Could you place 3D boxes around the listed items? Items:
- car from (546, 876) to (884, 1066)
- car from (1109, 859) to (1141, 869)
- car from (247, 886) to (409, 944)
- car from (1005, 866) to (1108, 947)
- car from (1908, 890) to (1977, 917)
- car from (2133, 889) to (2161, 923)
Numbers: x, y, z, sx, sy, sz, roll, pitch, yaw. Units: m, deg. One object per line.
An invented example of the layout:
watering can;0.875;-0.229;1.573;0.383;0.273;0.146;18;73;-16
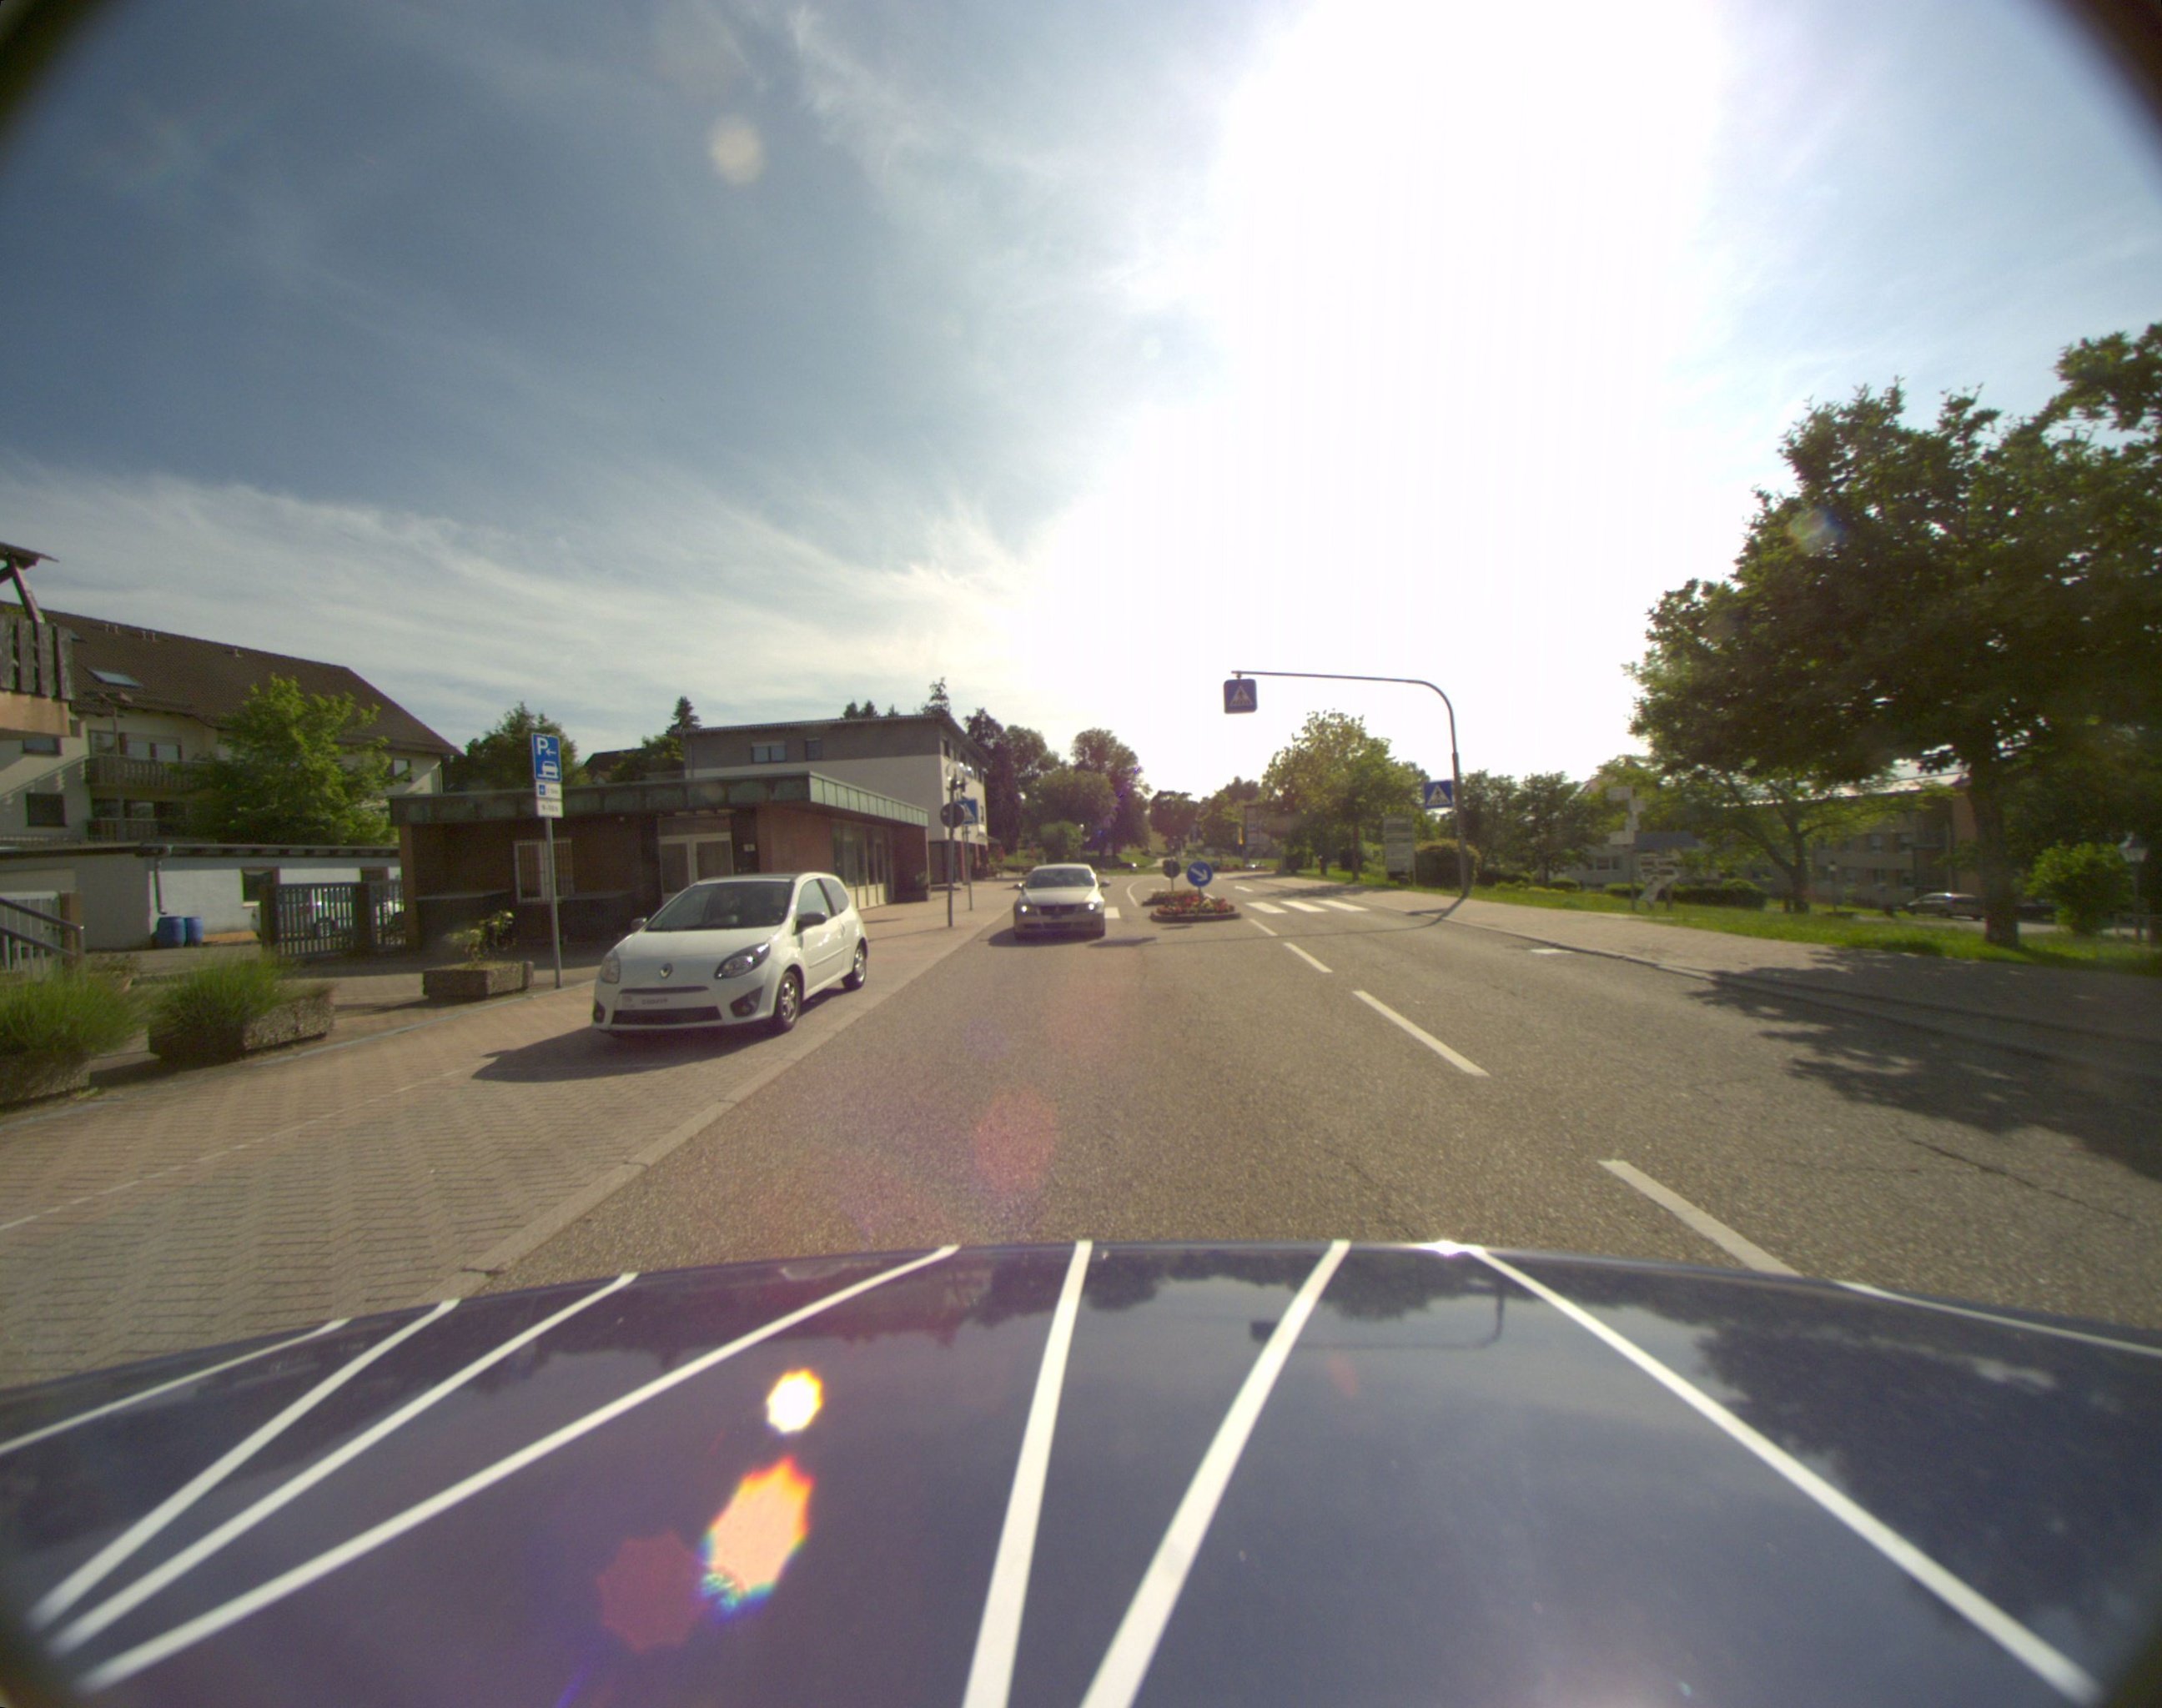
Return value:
car;-3.421;1.000;7.953;1.765;1.415;3.633;-1;0;0
car;6.161;1.407;106.402;4.254;1.420;1.706;-1;0;35
car;-22.387;1.766;22.770;1.491;1.475;3.315;0;0;2
car;-0.358;0.976;15.913;1.838;1.360;4.582;0;0;2
car;56.084;3.179;49.546;1.565;1.630;2.975;0;-1;14
car;66.226;3.169;45.242;1.996;2.002;4.004;1;0;12
